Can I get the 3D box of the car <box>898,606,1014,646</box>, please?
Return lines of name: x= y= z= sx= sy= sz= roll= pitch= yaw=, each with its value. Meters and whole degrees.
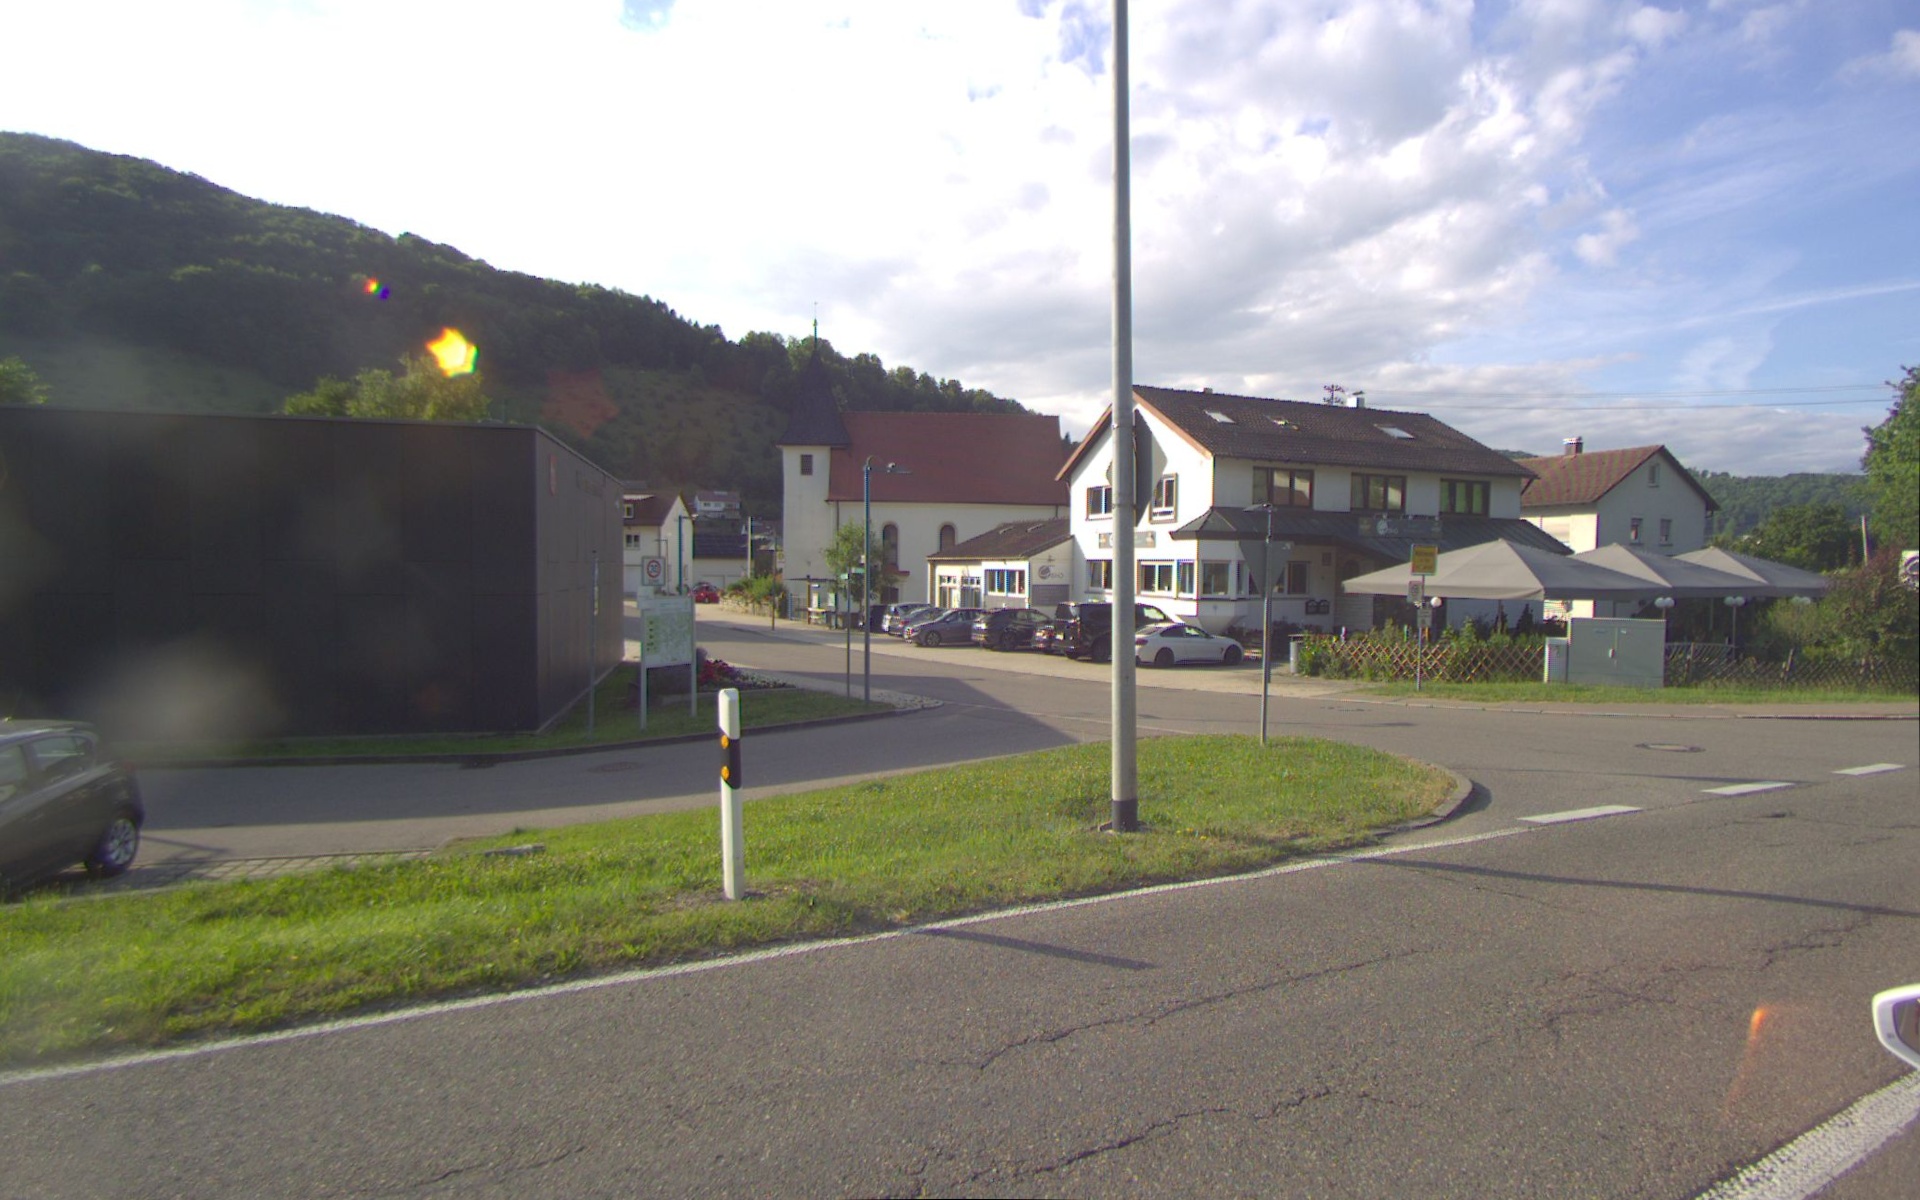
car: x=-0.170 y=1.098 z=42.317 sx=4.518 sy=1.618 sz=1.986 roll=1 pitch=-1 yaw=-27

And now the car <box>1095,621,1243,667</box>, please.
car: x=6.854 y=1.402 z=32.842 sx=4.518 sy=1.408 sz=1.986 roll=1 pitch=-1 yaw=-27

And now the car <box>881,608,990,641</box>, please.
car: x=-1.108 y=1.093 z=45.480 sx=4.518 sy=1.431 sz=1.986 roll=1 pitch=-1 yaw=-27

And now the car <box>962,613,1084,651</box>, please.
car: x=2.546 y=1.271 z=40.173 sx=4.518 sy=1.431 sz=1.986 roll=1 pitch=-1 yaw=-27

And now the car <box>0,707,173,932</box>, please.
car: x=-8.460 y=1.818 z=8.011 sx=1.801 sy=1.555 sz=3.992 roll=1 pitch=-1 yaw=-12

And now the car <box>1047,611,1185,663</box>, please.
car: x=5.468 y=1.279 z=35.126 sx=4.518 sy=1.707 sz=1.986 roll=1 pitch=-1 yaw=-27

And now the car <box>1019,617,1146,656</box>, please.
car: x=4.683 y=1.381 z=38.254 sx=4.518 sy=1.408 sz=1.986 roll=1 pitch=-1 yaw=-27

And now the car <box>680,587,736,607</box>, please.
car: x=-20.191 y=-0.223 z=80.643 sx=3.956 sy=1.528 sz=1.982 roll=0 pitch=0 yaw=-33

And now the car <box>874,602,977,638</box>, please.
car: x=-1.651 y=0.977 z=48.078 sx=4.518 sy=1.665 sz=1.986 roll=1 pitch=-1 yaw=-27
